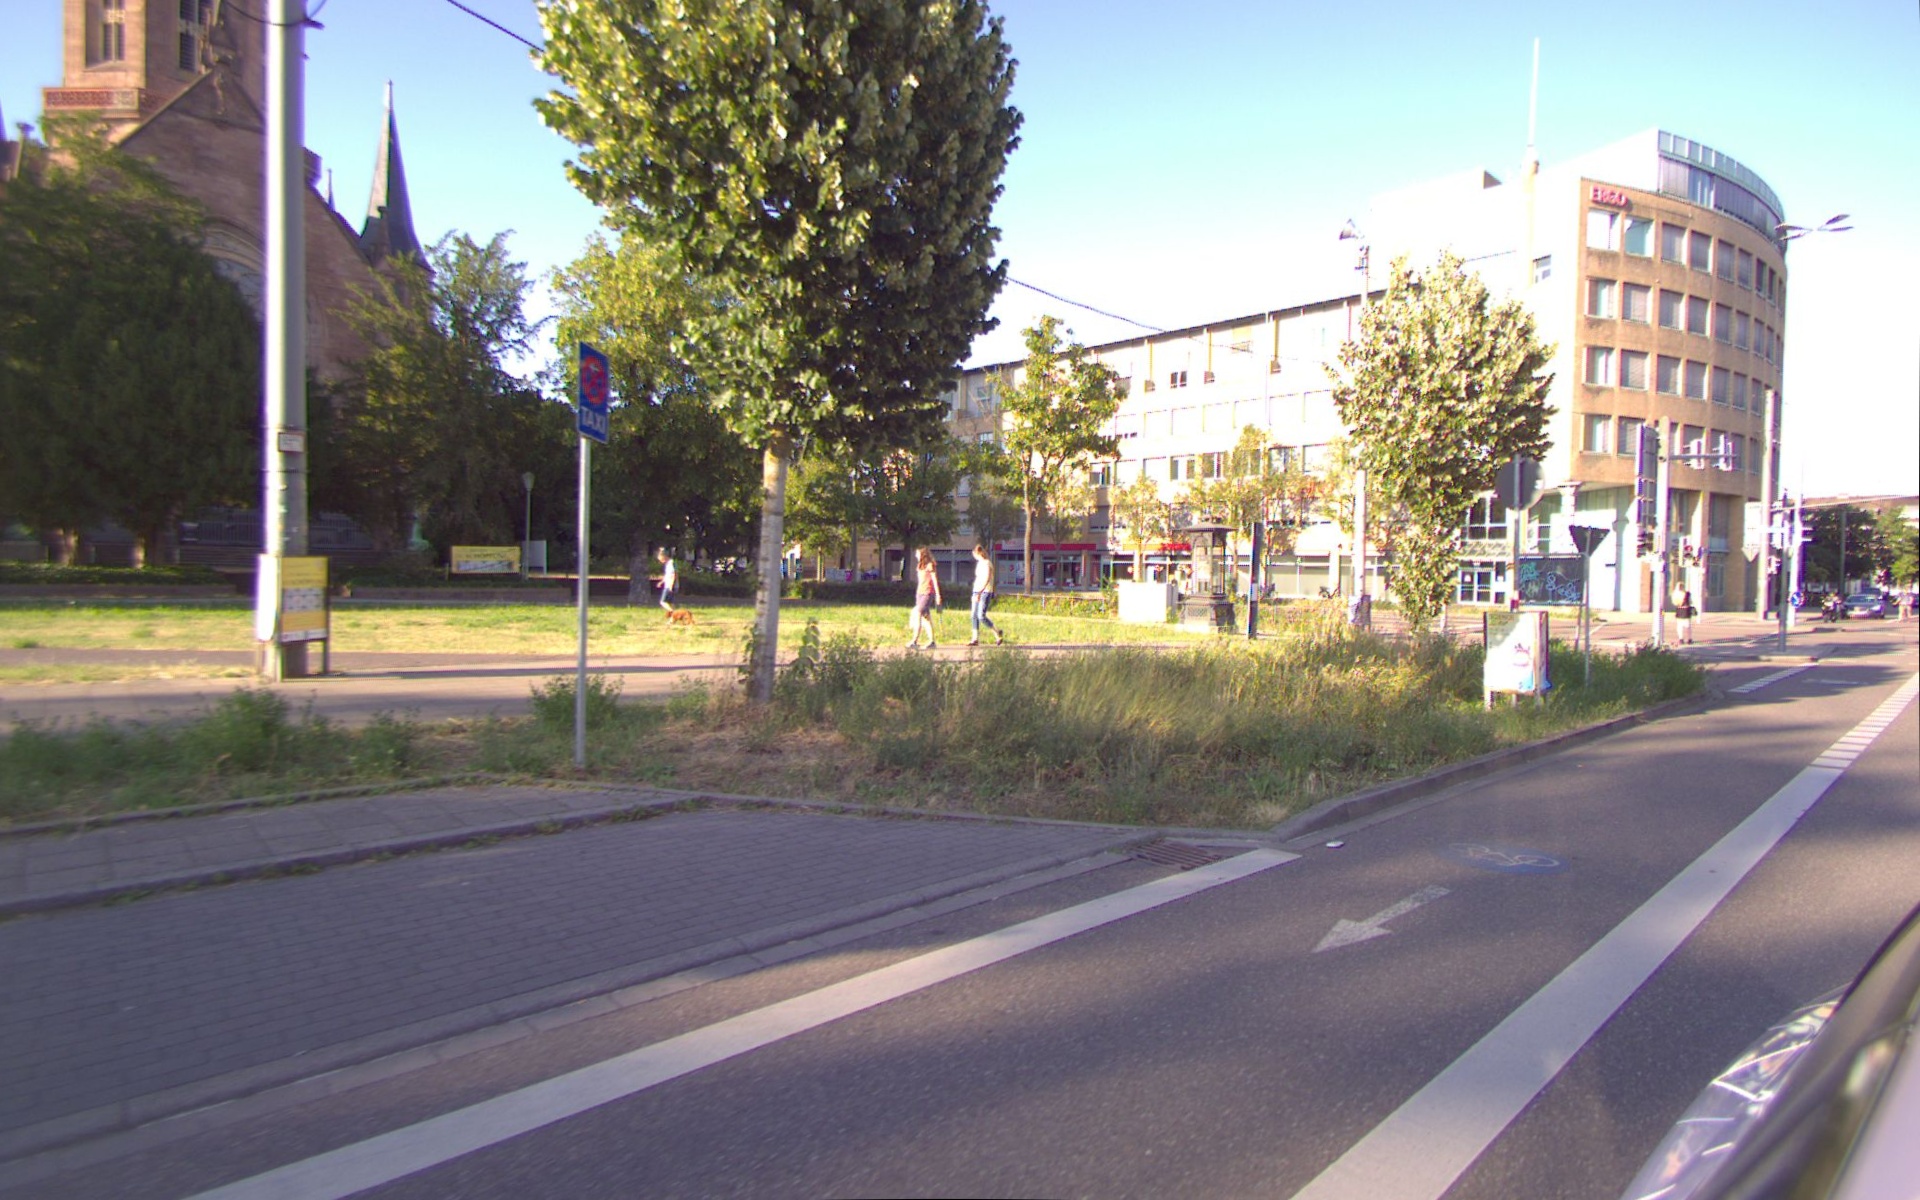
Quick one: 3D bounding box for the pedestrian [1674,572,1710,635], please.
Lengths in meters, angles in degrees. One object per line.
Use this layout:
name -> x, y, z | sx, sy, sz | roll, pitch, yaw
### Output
pedestrian -> 20.727, 0.097, 28.658 | 0.702, 1.746, 0.651 | 0, 2, -40

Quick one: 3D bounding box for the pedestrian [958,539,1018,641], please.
pedestrian -> 0.479, -0.184, 17.513 | 0.767, 1.709, 0.599 | 1, 3, -39

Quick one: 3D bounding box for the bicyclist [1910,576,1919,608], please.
bicyclist -> 48.938, -0.401, 51.619 | 0.817, 1.630, 0.551 | 0, 1, -40

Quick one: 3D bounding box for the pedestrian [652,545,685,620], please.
pedestrian -> -7.016, -0.421, 24.355 | 0.630, 1.760, 0.597 | 1, 1, -4

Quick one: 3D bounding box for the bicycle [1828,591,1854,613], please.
bicycle -> 44.610, 0.097, 51.253 | 1.944, 1.064, 0.700 | 0, 0, -40

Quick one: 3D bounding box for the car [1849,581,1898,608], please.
car -> 52.277, -0.348, 57.904 | 3.947, 1.491, 1.767 | -1, 1, -44

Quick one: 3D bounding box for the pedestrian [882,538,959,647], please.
pedestrian -> -0.637, -0.131, 16.354 | 0.899, 1.670, 0.741 | 1, 4, -39

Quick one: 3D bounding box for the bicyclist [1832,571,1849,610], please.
bicyclist -> 44.589, -0.498, 51.244 | 0.685, 1.963, 0.577 | 0, 0, -40

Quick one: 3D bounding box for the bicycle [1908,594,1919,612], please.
bicycle -> 48.901, 0.150, 51.600 | 1.745, 0.940, 0.608 | 0, 2, -40
